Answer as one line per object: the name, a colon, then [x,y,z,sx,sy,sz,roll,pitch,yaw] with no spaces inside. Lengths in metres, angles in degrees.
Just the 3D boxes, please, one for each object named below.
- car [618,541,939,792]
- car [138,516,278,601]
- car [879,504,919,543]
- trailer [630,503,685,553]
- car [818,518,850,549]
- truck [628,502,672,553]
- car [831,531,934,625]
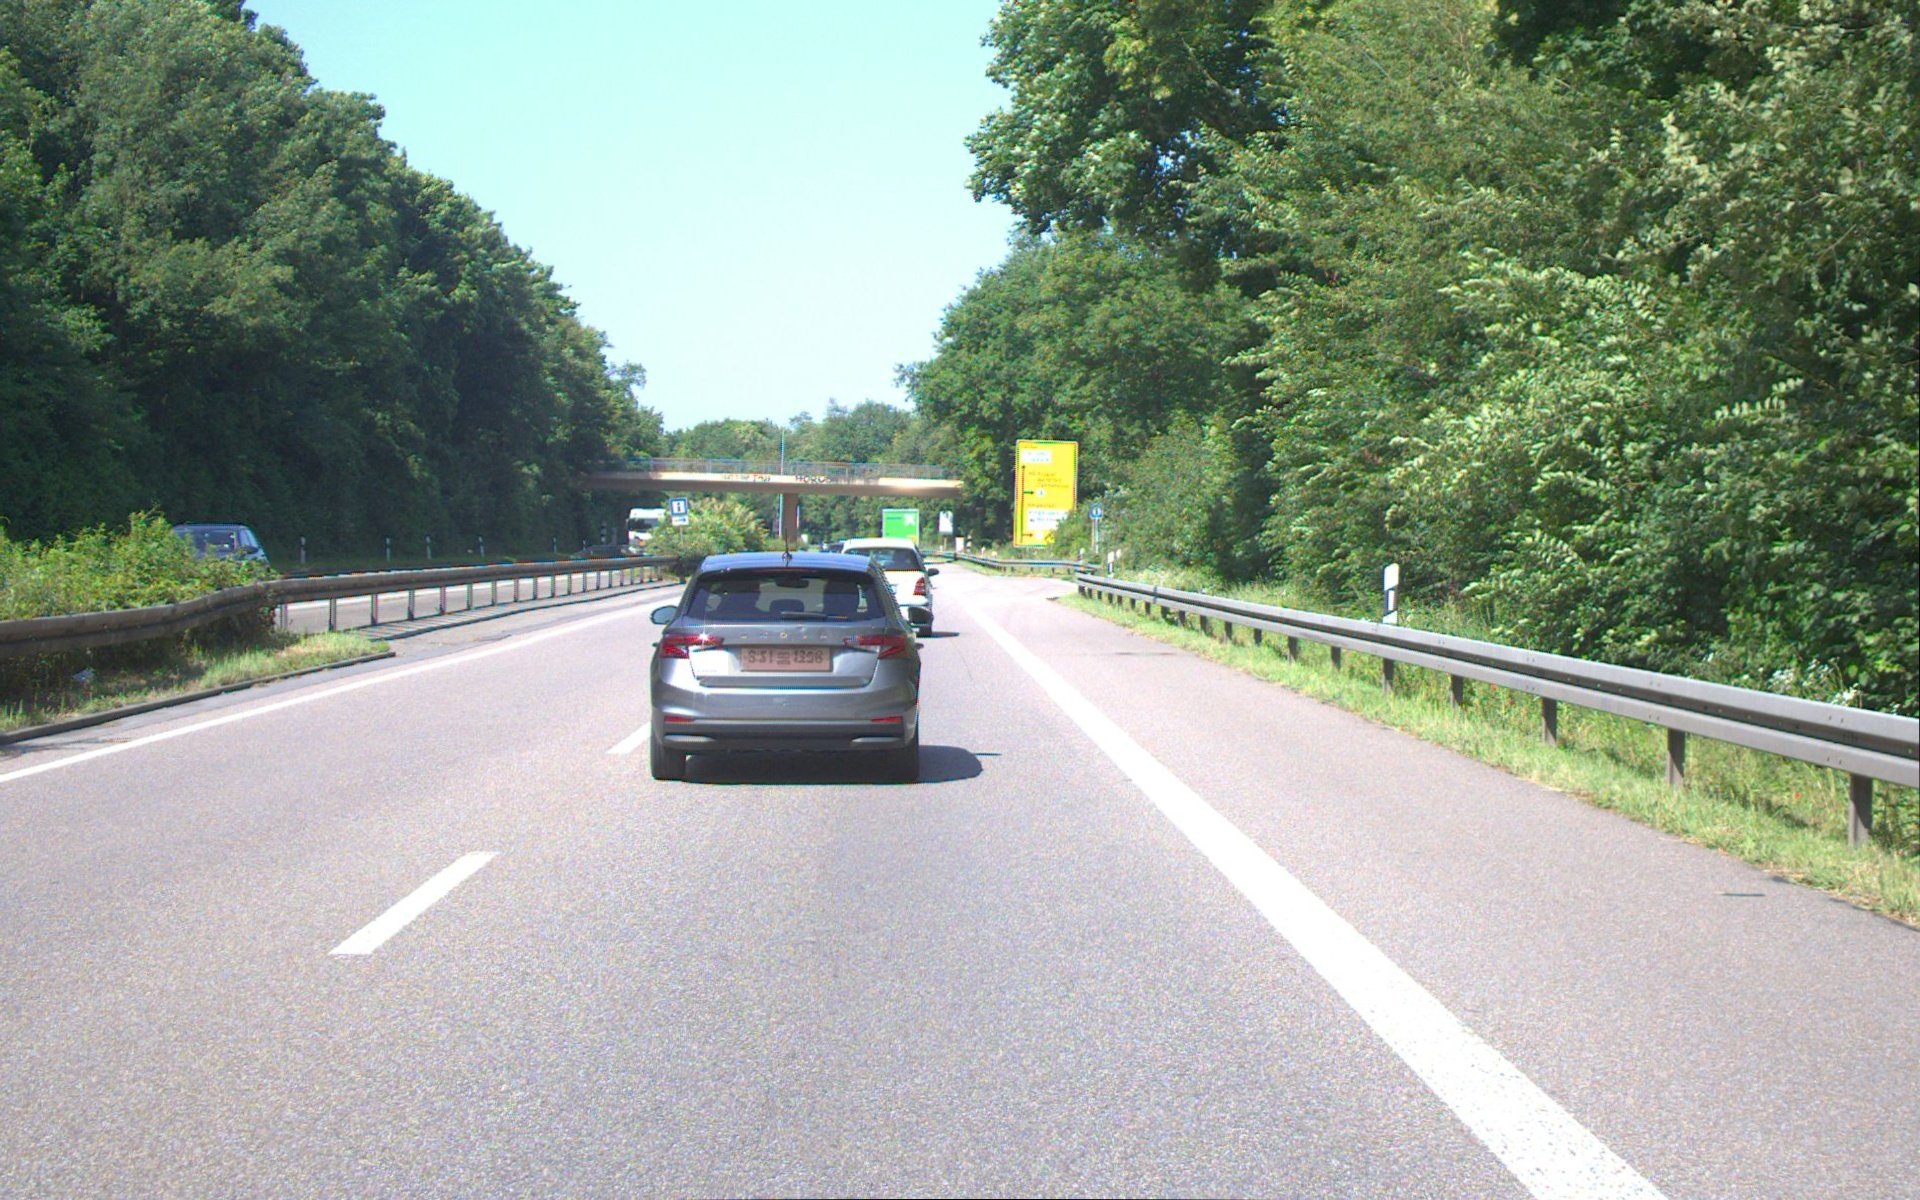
car: [-1.105,0.369,22.478,1.840,1.467,3.623,1,1,1]
car: [-13.472,-0.757,61.783,1.672,1.468,3.623,1,1,1]
car: [-4.296,-5.371,242.054,2.748,2.645,4.000,1,1,-1]
trailer: [-20.000,-4.756,228.104,2.492,3.224,14.432,1,1,-1]
car: [-8.290,-4.342,226.154,1.993,2.007,4.000,1,1,-1]
truck: [-19.904,-4.665,220.903,2.425,3.247,4.000,1,1,-1]
car: [-1.221,-0.379,55.354,1.522,1.441,3.340,1,1,1]
